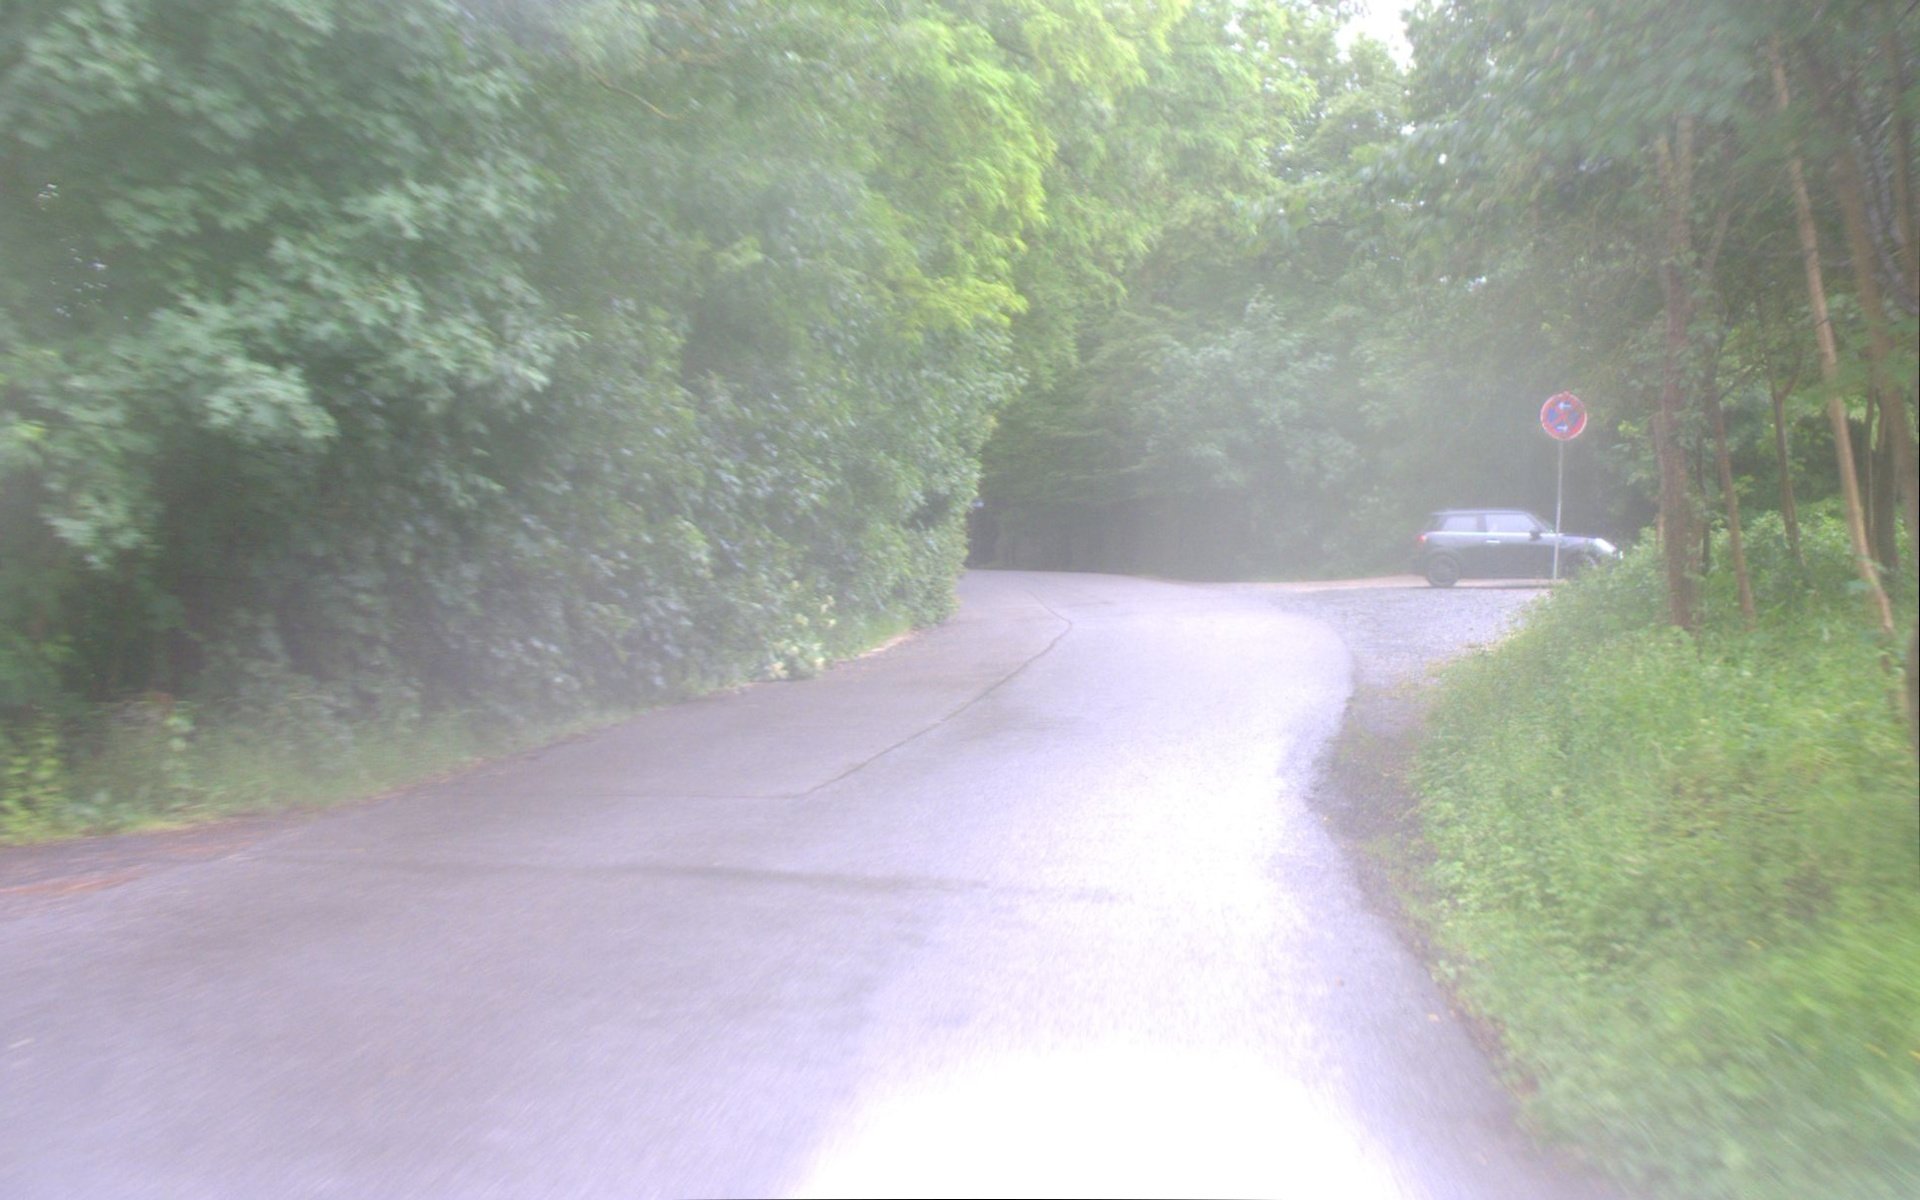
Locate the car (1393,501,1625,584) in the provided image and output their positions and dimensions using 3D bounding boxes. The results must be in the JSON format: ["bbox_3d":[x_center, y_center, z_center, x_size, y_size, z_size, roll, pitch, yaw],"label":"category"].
[{"bbox_3d":[9.920,-1.050,62.339,3.987,1.386,2.000,-1,2,5],"label":"car"}]
